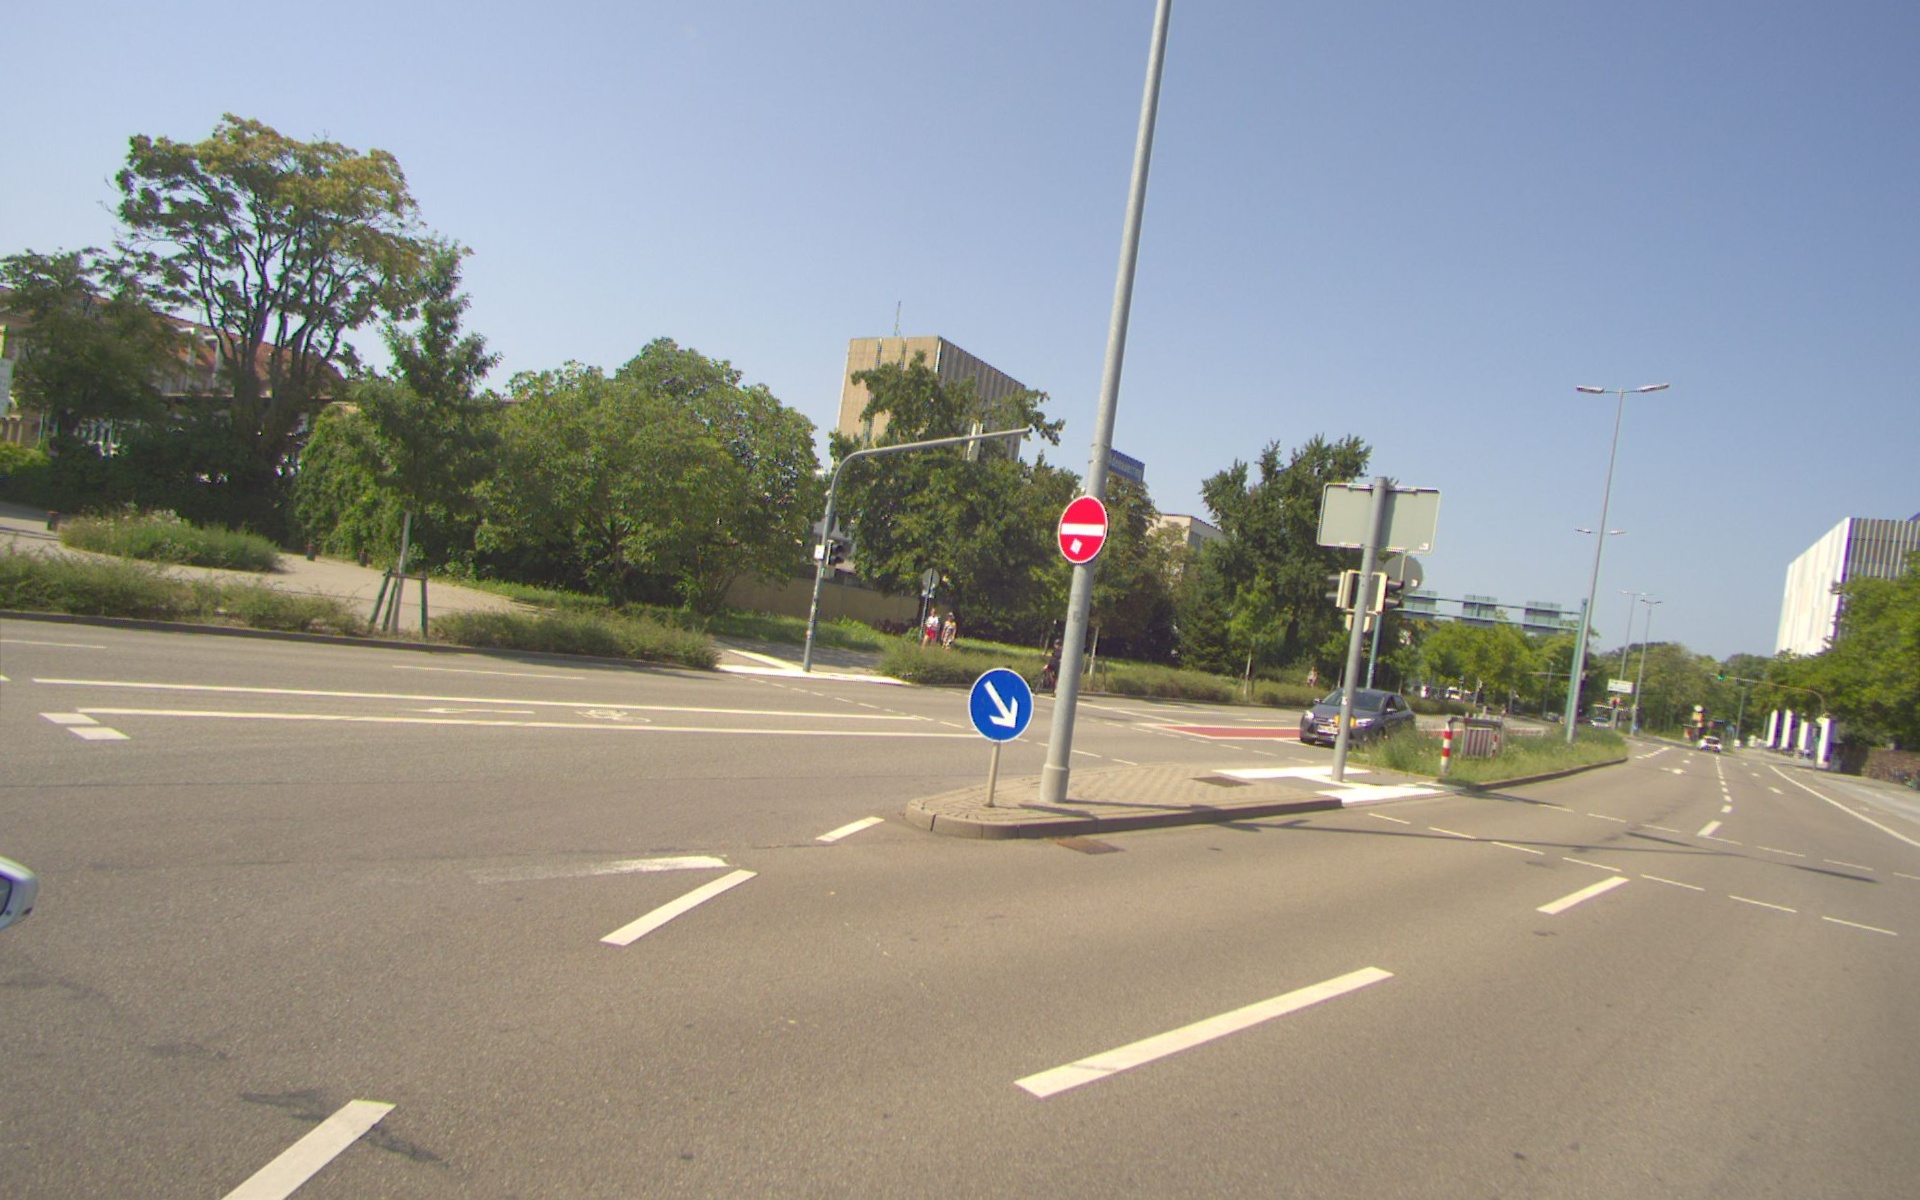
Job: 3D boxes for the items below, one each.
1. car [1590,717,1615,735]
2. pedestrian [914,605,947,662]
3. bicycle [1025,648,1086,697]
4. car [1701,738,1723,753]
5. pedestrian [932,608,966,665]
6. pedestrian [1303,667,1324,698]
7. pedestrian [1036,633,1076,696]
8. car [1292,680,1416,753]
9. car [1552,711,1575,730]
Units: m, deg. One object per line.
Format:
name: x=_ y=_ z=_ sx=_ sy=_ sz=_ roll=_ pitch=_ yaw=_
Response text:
car: x=75.884 y=14.891 z=118.835 sx=1.970 sy=1.698 sz=3.988 roll=8 pitch=-1 yaw=38
pedestrian: x=-1.007 y=1.131 z=34.058 sx=0.684 sy=1.793 sz=0.585 roll=8 pitch=1 yaw=39
bicycle: x=2.797 y=2.114 z=29.264 sx=0.774 sy=1.227 sz=1.783 roll=8 pitch=0 yaw=38
car: x=74.288 y=14.362 z=99.372 sx=1.566 sy=1.150 sz=3.253 roll=9 pitch=0 yaw=38
pedestrian: x=-0.380 y=1.212 z=33.655 sx=0.684 sy=1.793 sz=0.585 roll=8 pitch=1 yaw=39
pedestrian: x=22.540 y=5.258 z=64.115 sx=0.782 sy=1.790 sz=0.823 roll=8 pitch=0 yaw=39
pedestrian: x=2.781 y=1.874 z=29.202 sx=0.769 sy=1.689 sz=0.547 roll=8 pitch=1 yaw=39
car: x=9.371 y=2.750 z=23.784 sx=1.765 sy=1.373 sz=3.414 roll=6 pitch=-2 yaw=37
car: x=75.371 y=15.024 z=125.589 sx=2.051 sy=1.940 sz=4.186 roll=8 pitch=-1 yaw=34
